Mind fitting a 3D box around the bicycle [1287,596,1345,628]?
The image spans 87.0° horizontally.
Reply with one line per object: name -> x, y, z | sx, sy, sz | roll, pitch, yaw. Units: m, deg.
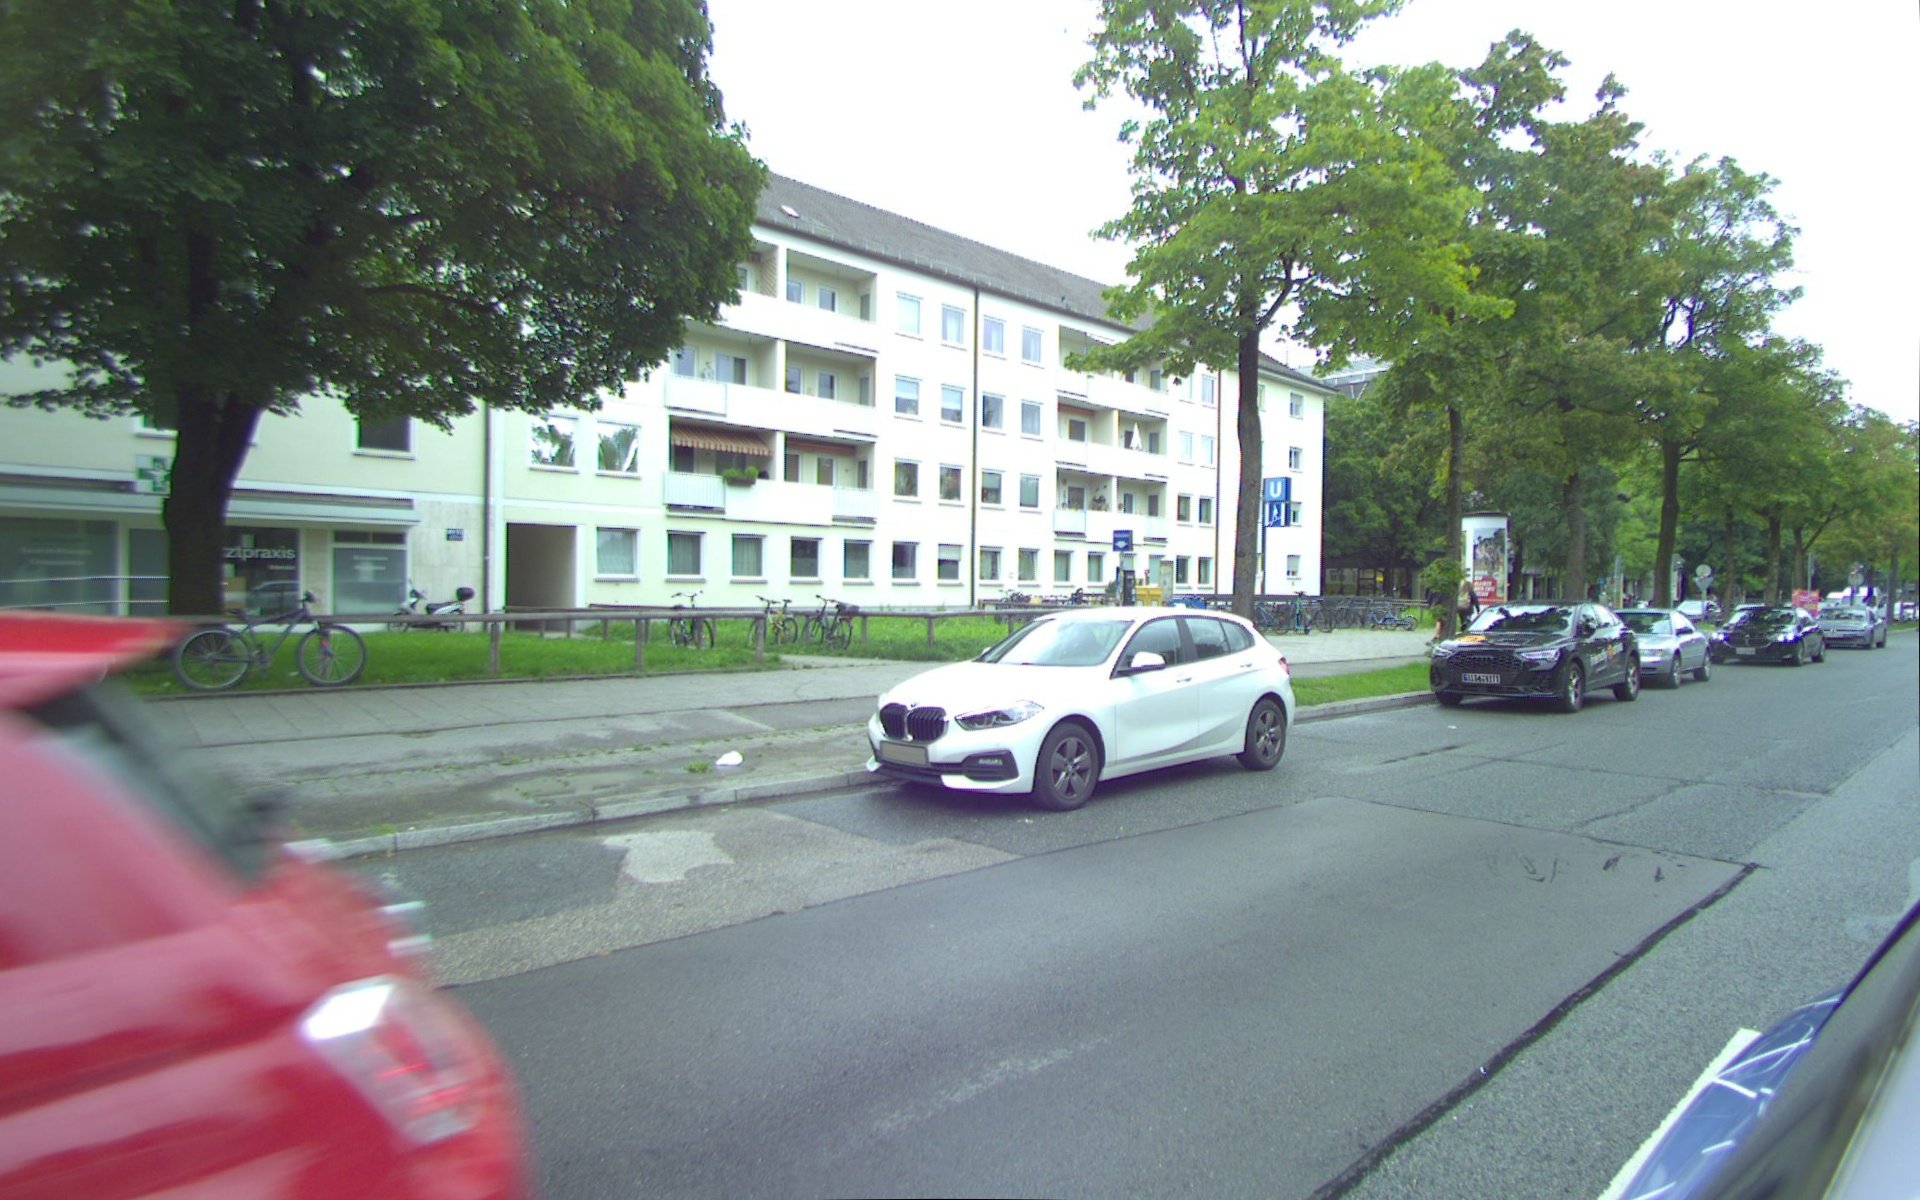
bicycle -> 10.904, 0.358, 31.021 | 0.490, 0.927, 1.596 | 0, 2, -45

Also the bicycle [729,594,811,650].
bicycle -> -3.983, 0.431, 21.129 | 0.653, 1.081, 2.027 | 0, 1, -45

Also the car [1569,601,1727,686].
car -> 12.894, 0.739, 18.884 | 3.860, 1.397, 1.615 | 0, 0, -43

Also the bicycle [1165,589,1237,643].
bicycle -> 5.676, 0.355, 23.779 | 2.039, 1.203, 0.545 | 0, 0, -41

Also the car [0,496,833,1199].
car -> -2.357, 0.647, 0.958 | 4.226, 1.519, 1.721 | 0, 0, -42

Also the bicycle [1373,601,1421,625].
bicycle -> 14.721, 0.442, 34.085 | 0.490, 0.722, 1.389 | 0, 3, -45

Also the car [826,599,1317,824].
car -> 1.121, 0.736, 8.677 | 4.212, 1.455, 1.824 | 0, -1, -41

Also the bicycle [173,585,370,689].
bicycle -> -7.511, 0.371, 11.094 | 1.738, 1.068, 0.470 | -1, 0, -42

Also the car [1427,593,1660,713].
car -> 8.751, 0.677, 15.040 | 4.086, 1.530, 1.824 | 0, 0, -42

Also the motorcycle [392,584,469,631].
motorcycle -> -13.140, 0.181, 25.134 | 1.593, 1.134, 0.606 | 0, 1, -41

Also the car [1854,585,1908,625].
car -> 59.379, 0.271, 65.220 | 4.912, 2.486, 1.997 | -1, 0, -41

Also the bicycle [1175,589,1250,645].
bicycle -> 5.631, 0.365, 22.529 | 2.039, 1.203, 0.545 | 0, 0, -41

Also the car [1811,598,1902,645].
car -> 30.930, 0.689, 34.867 | 4.225, 1.487, 1.825 | 0, 0, -41

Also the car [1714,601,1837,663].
car -> 20.589, 0.732, 25.486 | 4.227, 1.397, 1.824 | 0, 0, -43

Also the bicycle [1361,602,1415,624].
bicycle -> 14.224, 0.432, 33.666 | 0.490, 0.704, 1.595 | 0, 0, -45

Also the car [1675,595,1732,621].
car -> 44.137, 0.434, 60.047 | 4.225, 1.487, 1.825 | 0, 0, -41

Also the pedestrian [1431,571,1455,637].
pedestrian -> 13.311, 0.098, 27.891 | 0.555, 1.778, 0.651 | 1, 0, 29

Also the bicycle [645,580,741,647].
bicycle -> -4.575, 0.197, 17.236 | 0.653, 1.081, 2.027 | 0, 1, -45

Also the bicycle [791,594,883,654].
bicycle -> -2.380, 0.435, 19.443 | 0.653, 1.081, 2.027 | 0, 1, -45

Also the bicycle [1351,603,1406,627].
bicycle -> 13.699, 0.491, 33.158 | 0.490, 0.645, 1.596 | 0, 3, -45

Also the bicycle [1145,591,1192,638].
bicycle -> 5.139, 0.344, 24.935 | 1.231, 1.130, 0.466 | 0, 0, -41

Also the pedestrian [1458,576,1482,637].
pedestrian -> 13.890, 0.167, 27.547 | 0.555, 1.625, 0.515 | 1, 0, 30

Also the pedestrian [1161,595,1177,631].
pedestrian -> 5.511, 0.340, 26.692 | 0.333, 0.932, 0.393 | 1, 0, 21

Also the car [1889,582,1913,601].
car -> 123.604, -1.103, 132.910 | 4.915, 2.485, 1.996 | 0, 1, -43

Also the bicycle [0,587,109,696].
bicycle -> -9.271, 0.390, 9.603 | 1.820, 1.028, 0.448 | 0, 0, -41

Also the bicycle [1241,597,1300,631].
bicycle -> 9.006, 0.397, 29.374 | 0.490, 0.927, 1.595 | 0, 1, -45
